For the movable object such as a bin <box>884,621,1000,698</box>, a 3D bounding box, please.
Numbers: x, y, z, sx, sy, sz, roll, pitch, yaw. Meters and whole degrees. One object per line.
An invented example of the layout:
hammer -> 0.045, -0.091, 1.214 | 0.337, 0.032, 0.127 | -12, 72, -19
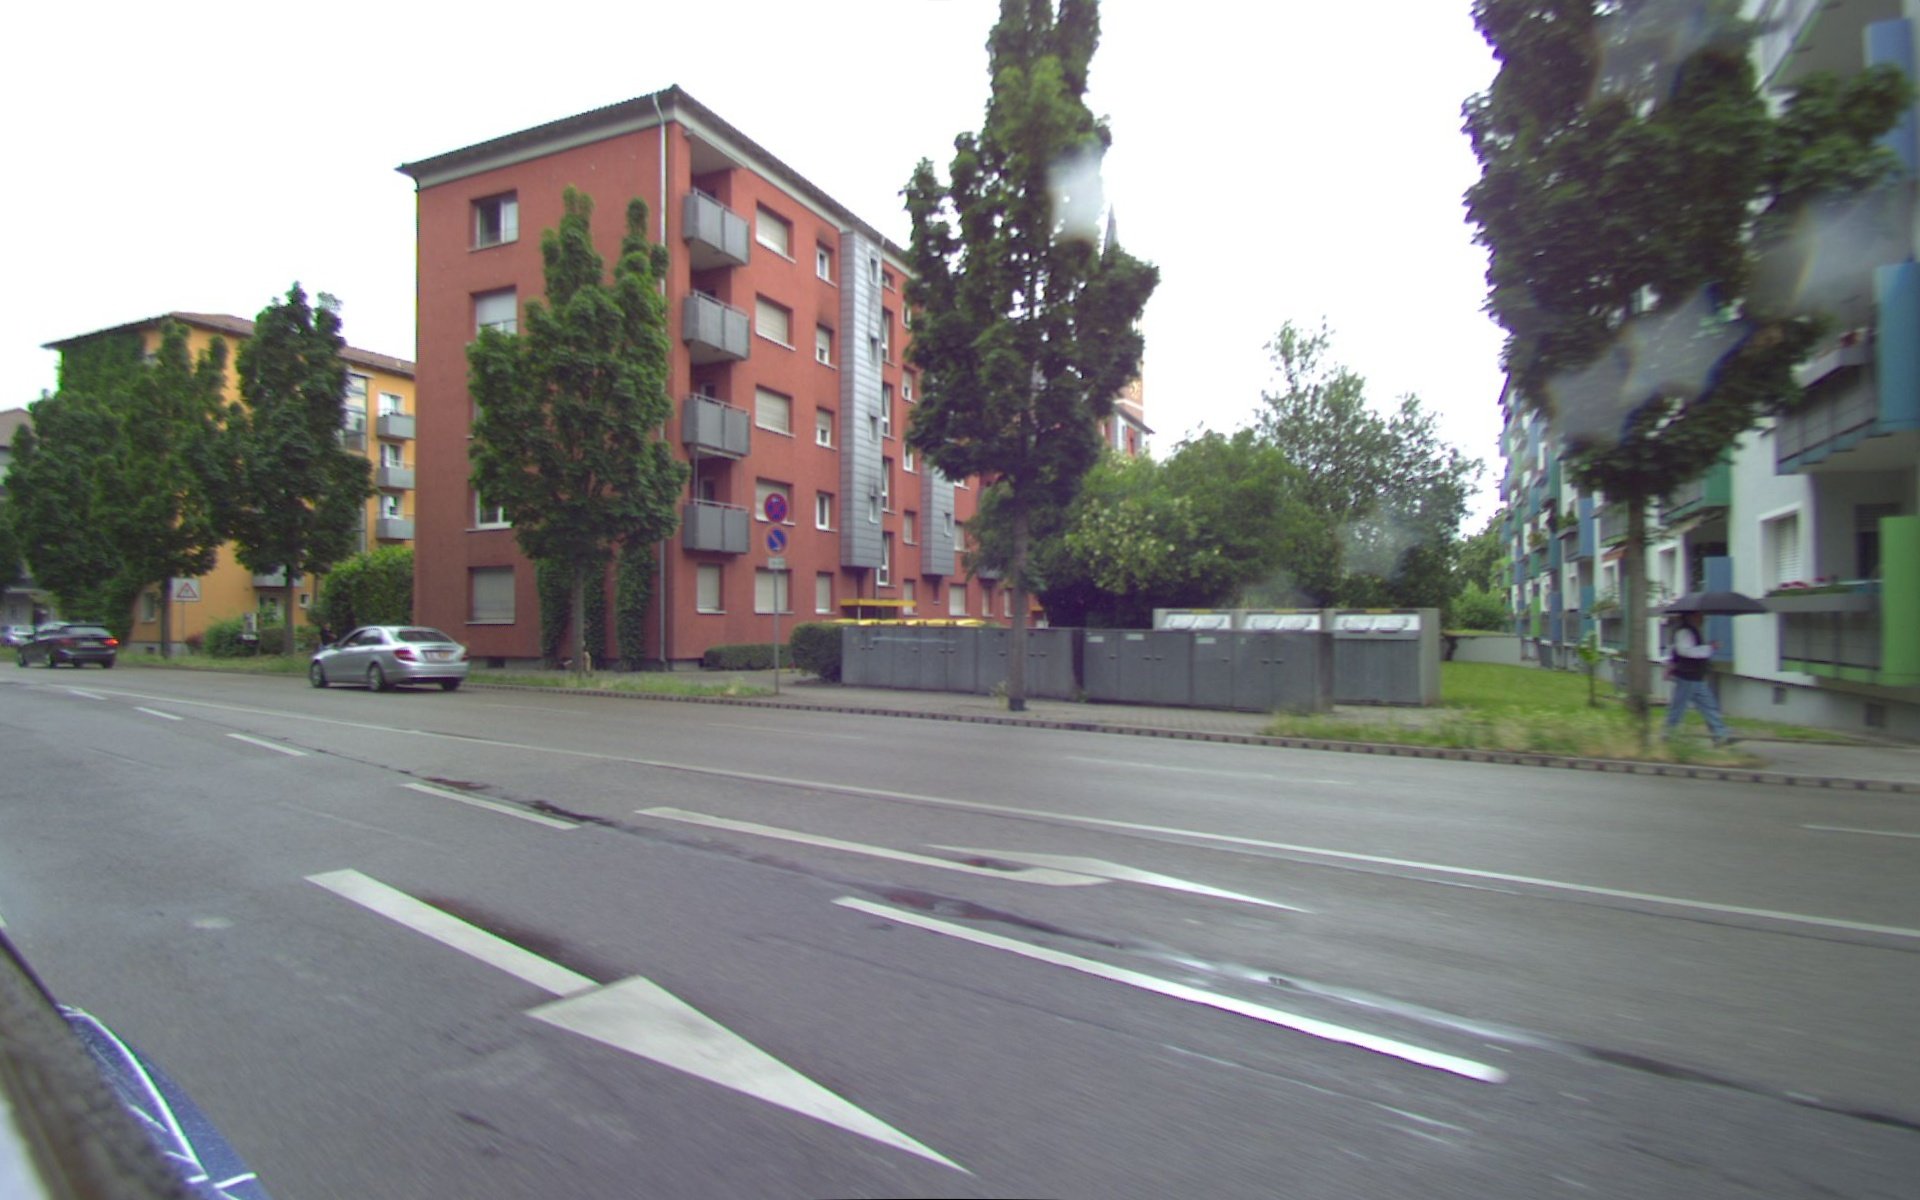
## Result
movable object such as a bin -> -0.373, 1.207, 20.827 | 2.082, 1.496, 1.205 | -2, -3, 35

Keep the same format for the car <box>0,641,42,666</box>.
car -> -60.370, 3.367, 64.334 | 4.211, 1.537, 1.718 | -1, -3, 30

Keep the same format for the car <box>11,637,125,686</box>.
car -> -30.993, 2.126, 35.124 | 4.452, 1.615, 1.858 | -2, -4, 34

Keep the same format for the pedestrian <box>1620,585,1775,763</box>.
pedestrian -> 8.092, 0.785, 11.148 | 1.261, 1.818, 1.124 | -2, -3, 37

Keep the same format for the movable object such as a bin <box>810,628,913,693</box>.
movable object such as a bin -> -2.153, 1.300, 22.070 | 1.961, 1.341, 1.147 | -2, -3, 35

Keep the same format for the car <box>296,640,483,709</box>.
car -> -12.769, 1.621, 22.559 | 4.617, 1.401, 1.857 | -2, -4, 36

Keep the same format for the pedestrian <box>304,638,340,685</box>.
pedestrian -> -20.401, 1.955, 32.354 | 0.833, 1.460, 0.666 | -2, -3, 31

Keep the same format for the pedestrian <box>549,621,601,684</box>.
pedestrian -> -9.529, 1.295, 25.057 | 1.066, 1.529, 0.687 | -2, -3, 31
